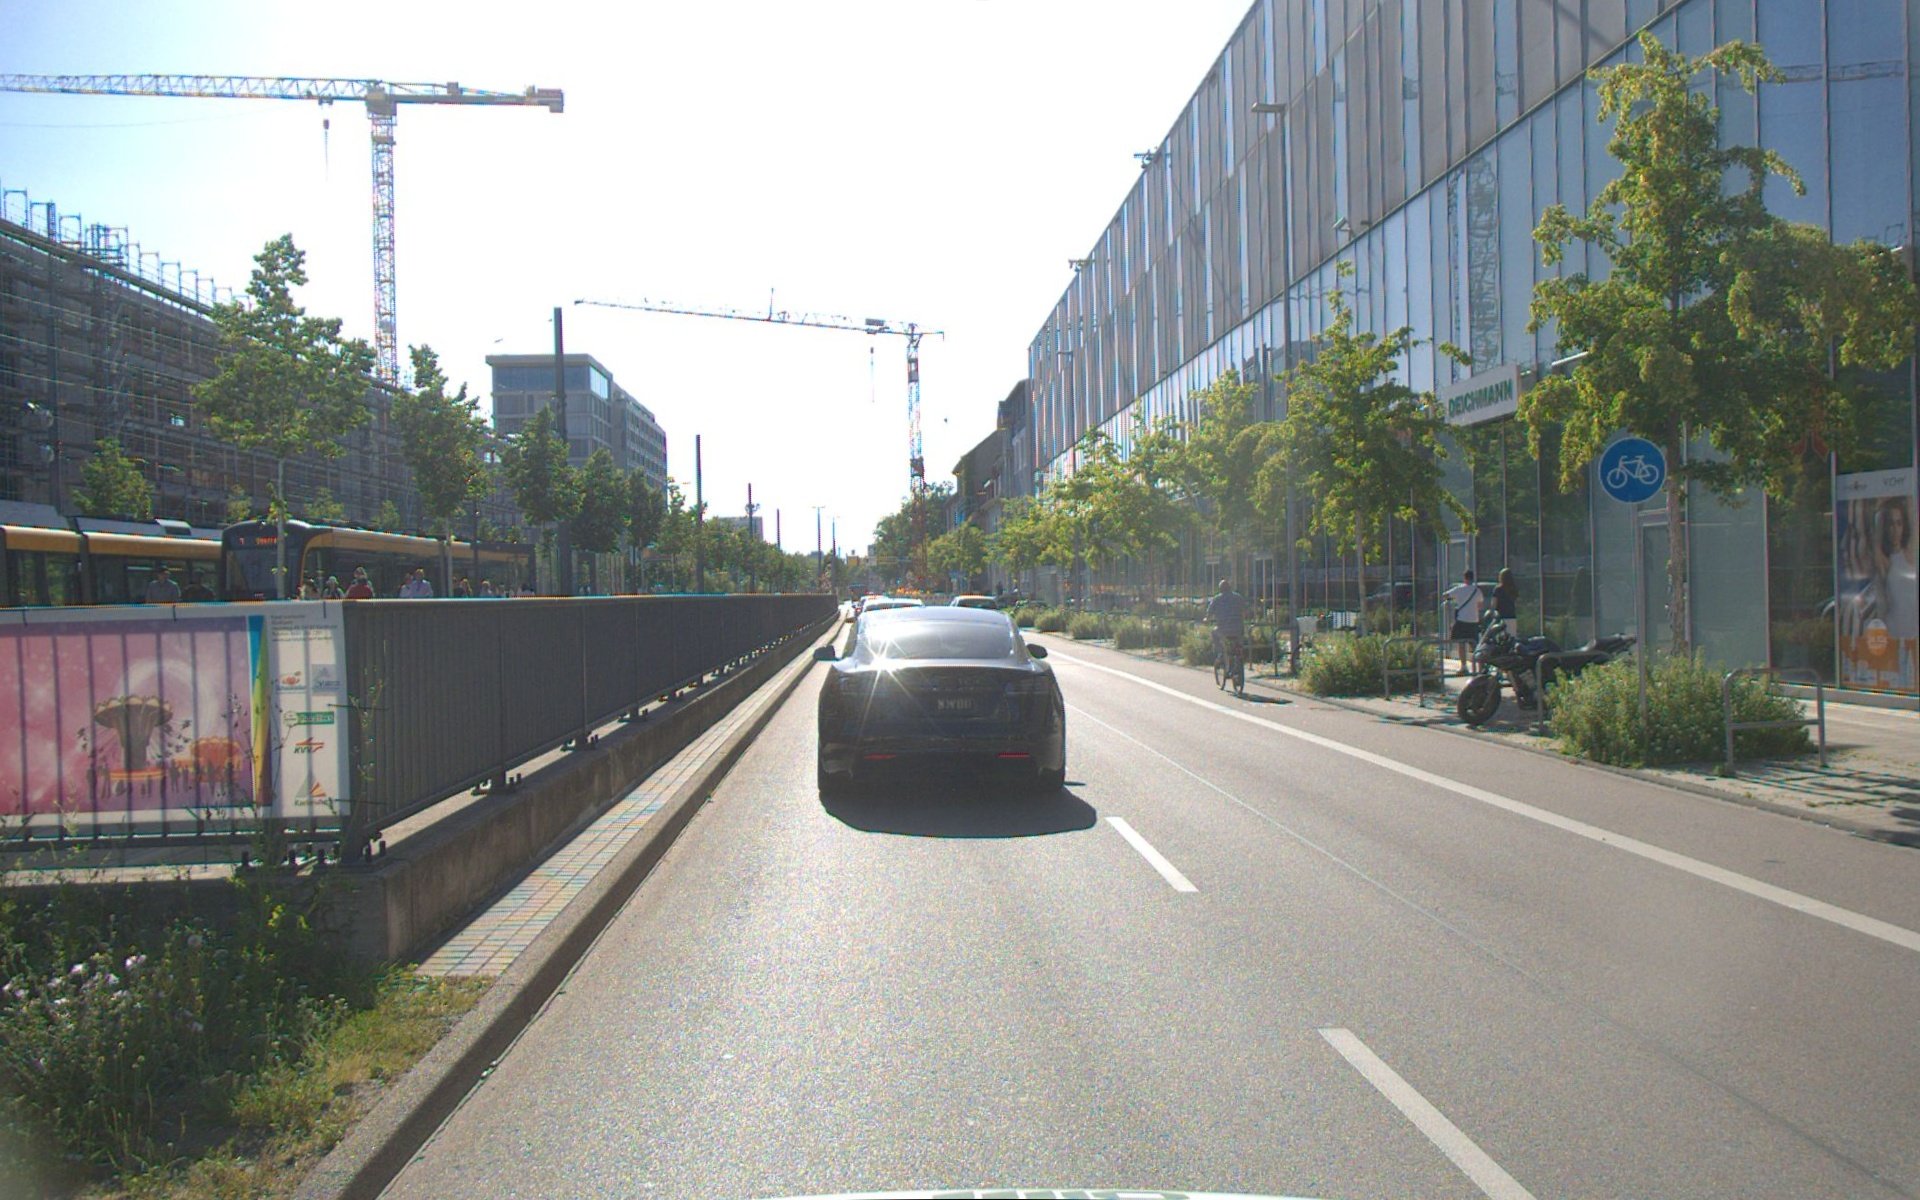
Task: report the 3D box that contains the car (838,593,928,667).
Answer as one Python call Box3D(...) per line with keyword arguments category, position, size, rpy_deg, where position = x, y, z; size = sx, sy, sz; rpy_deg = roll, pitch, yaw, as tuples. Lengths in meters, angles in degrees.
Box3D(category="car", position=(-1.538, 0.554, 33.368), size=(1.682, 1.343, 3.998), rpy_deg=(-1, 1, -2))

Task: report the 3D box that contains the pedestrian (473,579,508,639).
Box3D(category="pedestrian", position=(-13.183, 0.247, 46.446), size=(0.726, 1.657, 0.861), rpy_deg=(-1, 0, -2))

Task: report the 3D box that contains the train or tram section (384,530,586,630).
Box3D(category="train or tram section", position=(-18.320, -0.746, 66.161), size=(2.813, 3.337, 22.130), rpy_deg=(0, 0, -3))

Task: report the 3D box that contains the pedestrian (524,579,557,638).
Box3D(category="pedestrian", position=(-12.054, 0.237, 47.566), size=(0.726, 1.657, 0.861), rpy_deg=(-1, 0, -2))

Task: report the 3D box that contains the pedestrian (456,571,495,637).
Box3D(category="pedestrian", position=(-12.411, 0.099, 42.377), size=(0.726, 1.657, 0.861), rpy_deg=(-1, 0, -2))

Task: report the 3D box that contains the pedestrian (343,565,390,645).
Box3D(category="pedestrian", position=(-14.099, 0.117, 39.328), size=(0.754, 1.842, 1.030), rpy_deg=(-2, 0, -4))

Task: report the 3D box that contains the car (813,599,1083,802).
Box3D(category="car", position=(-0.109, 0.733, 14.227), size=(1.958, 1.459, 4.412), rpy_deg=(0, 0, -1))

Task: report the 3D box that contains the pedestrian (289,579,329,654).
Box3D(category="pedestrian", position=(-13.635, 0.342, 34.662), size=(0.635, 1.539, 0.588), rpy_deg=(0, 1, -6))

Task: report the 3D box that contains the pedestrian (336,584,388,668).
Box3D(category="pedestrian", position=(-12.129, 0.521, 33.588), size=(0.726, 1.657, 0.861), rpy_deg=(-1, 0, -2))

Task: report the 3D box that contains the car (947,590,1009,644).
Box3D(category="car", position=(0.533, 0.489, 51.998), size=(1.748, 1.573, 4.037), rpy_deg=(-1, 1, -2))

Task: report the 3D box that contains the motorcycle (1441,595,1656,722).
Box3D(category="motorcycle", position=(6.816, 0.669, 19.233), size=(2.144, 1.347, 0.903), rpy_deg=(-2, 0, 1))

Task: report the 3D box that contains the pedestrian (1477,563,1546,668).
Box3D(category="pedestrian", position=(9.231, 0.247, 27.707), size=(0.693, 1.687, 0.899), rpy_deg=(-3, 0, -7))

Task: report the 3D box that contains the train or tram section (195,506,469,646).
Box3D(category="train or tram section", position=(-17.407, -0.630, 47.519), size=(2.813, 3.337, 15.176), rpy_deg=(0, 0, -3))

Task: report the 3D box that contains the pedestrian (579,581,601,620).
Box3D(category="pedestrian", position=(-15.719, 0.025, 70.231), size=(0.726, 1.657, 0.861), rpy_deg=(-1, 0, -2))

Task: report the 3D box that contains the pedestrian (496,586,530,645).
Box3D(category="pedestrian", position=(-12.821, 0.443, 47.493), size=(0.726, 1.657, 0.861), rpy_deg=(-1, 0, -2))

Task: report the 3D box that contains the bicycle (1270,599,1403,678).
Box3D(category="bicycle", position=(6.372, 0.648, 28.081), size=(2.042, 1.226, 0.951), rpy_deg=(-3, 0, 3))

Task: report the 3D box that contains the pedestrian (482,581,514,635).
Box3D(category="pedestrian", position=(-14.220, 0.239, 50.924), size=(0.726, 1.657, 0.947), rpy_deg=(-1, 0, -2))

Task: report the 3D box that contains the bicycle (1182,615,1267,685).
Box3D(category="bicycle", position=(4.245, 0.787, 26.714), size=(0.715, 1.000, 2.330), rpy_deg=(-2, 1, -6))

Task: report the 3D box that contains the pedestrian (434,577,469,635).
Box3D(category="pedestrian", position=(-14.727, 0.175, 47.905), size=(0.726, 1.657, 0.861), rpy_deg=(-1, 0, -2))

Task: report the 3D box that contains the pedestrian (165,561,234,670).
Box3D(category="pedestrian", position=(-12.730, 0.246, 27.706), size=(0.775, 1.806, 0.978), rpy_deg=(0, 1, -6))

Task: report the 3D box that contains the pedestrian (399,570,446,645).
Box3D(category="pedestrian", position=(-13.723, 0.182, 42.241), size=(0.869, 1.883, 1.007), rpy_deg=(-1, 0, -3))

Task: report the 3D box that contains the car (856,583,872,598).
Box3D(category="car", position=(-11.681, -1.155, 201.538), size=(1.777, 1.841, 4.037), rpy_deg=(-1, 1, -2))

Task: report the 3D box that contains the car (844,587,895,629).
Box3D(category="car", position=(-3.701, 0.305, 68.120), size=(1.849, 1.624, 4.000), rpy_deg=(-1, 1, 0))

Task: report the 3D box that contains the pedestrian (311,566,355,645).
Box3D(category="pedestrian", position=(-14.869, 0.125, 39.239), size=(0.658, 1.842, 1.074), rpy_deg=(-2, 0, -4))

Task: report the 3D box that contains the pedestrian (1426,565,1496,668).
Box3D(category="pedestrian", position=(8.406, 0.274, 27.757), size=(0.805, 1.687, 0.899), rpy_deg=(-1, 0, -7))

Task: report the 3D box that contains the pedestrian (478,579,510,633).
Box3D(category="pedestrian", position=(-14.633, 0.195, 51.942), size=(0.726, 1.657, 0.861), rpy_deg=(-1, 0, -2))

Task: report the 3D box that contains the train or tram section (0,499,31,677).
Box3D(category="train or tram section", position=(-19.266, -0.201, 25.757), size=(2.813, 3.367, 13.065), rpy_deg=(0, 0, -3))

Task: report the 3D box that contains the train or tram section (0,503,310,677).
Box3D(category="train or tram section", position=(-19.997, -0.288, 40.237), size=(2.791, 3.379, 15.957), rpy_deg=(1, 0, -3))

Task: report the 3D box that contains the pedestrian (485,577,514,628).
Box3D(category="pedestrian", position=(-15.169, 0.074, 54.486), size=(0.726, 1.657, 0.861), rpy_deg=(-1, 0, -2))

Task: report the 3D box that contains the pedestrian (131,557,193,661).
Box3D(category="pedestrian", position=(-14.100, 0.145, 29.236), size=(0.746, 1.806, 0.826), rpy_deg=(0, 1, -5))

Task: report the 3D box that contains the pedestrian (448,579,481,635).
Box3D(category="pedestrian", position=(-14.936, 0.200, 49.881), size=(0.726, 1.657, 0.861), rpy_deg=(-1, 0, -2))

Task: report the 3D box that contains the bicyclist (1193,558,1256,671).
Box3D(category="bicyclist", position=(4.236, 0.227, 26.555), size=(0.711, 1.767, 0.996), rpy_deg=(-2, 0, -7))

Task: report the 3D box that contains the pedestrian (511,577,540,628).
Box3D(category="pedestrian", position=(-14.323, 0.084, 54.497), size=(0.726, 1.657, 0.861), rpy_deg=(-1, 0, -2))

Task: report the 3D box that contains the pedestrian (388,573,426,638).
Box3D(category="pedestrian", position=(-14.888, 0.145, 44.514), size=(0.726, 1.724, 0.861), rpy_deg=(-1, 0, -2))
